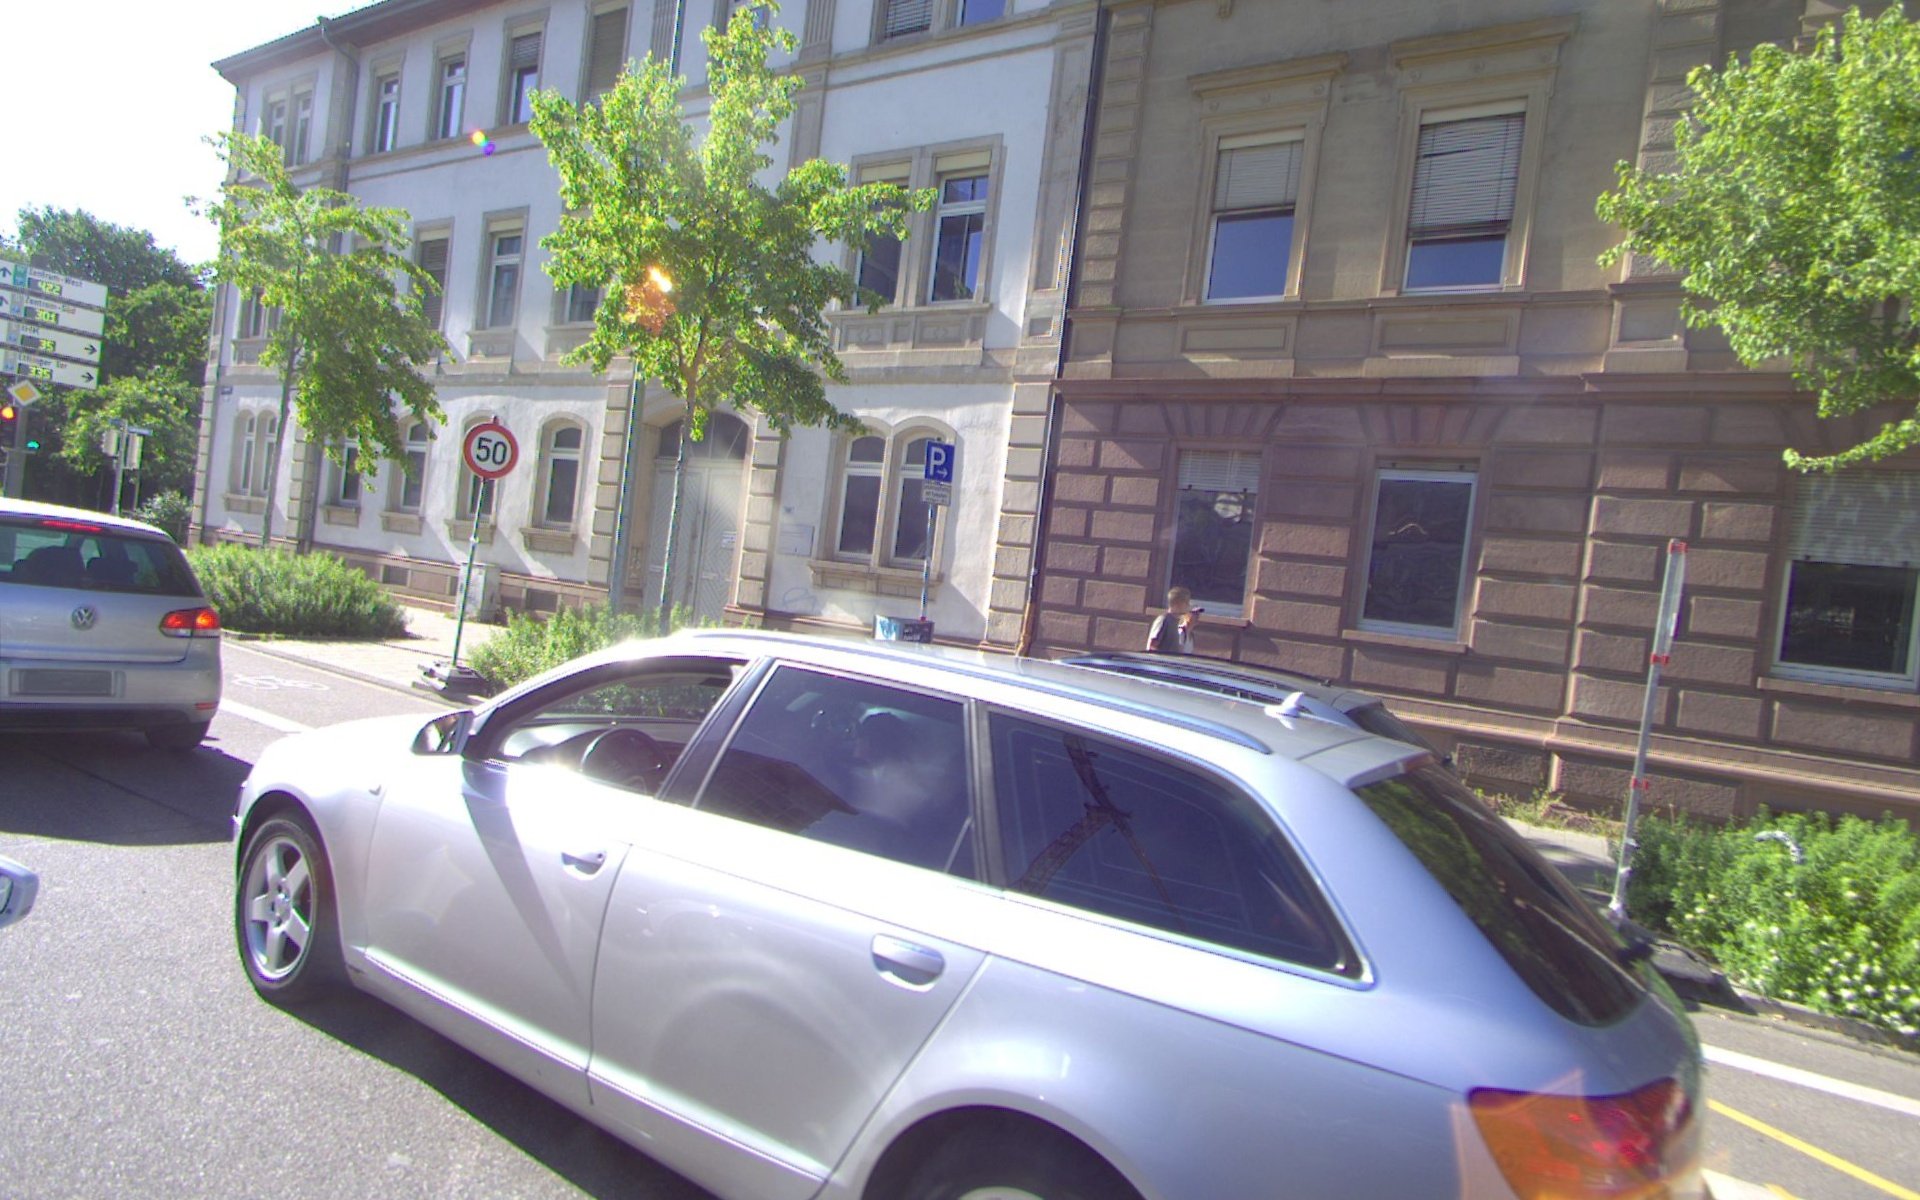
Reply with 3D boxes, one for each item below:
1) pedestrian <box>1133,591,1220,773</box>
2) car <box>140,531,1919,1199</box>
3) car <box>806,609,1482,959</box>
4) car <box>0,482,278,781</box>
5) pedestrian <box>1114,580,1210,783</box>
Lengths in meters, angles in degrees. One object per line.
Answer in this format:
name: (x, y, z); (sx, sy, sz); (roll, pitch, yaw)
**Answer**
pedestrian: (2.326, 0.855, 10.781); (0.577, 1.846, 0.563); (7, 4, 30)
car: (-0.509, 0.788, 3.195); (4.758, 1.444, 1.750); (7, -1, 32)
car: (1.215, 1.080, 7.582); (4.621, 1.495, 1.648); (7, 3, 31)
car: (-6.427, -0.003, 6.512); (3.938, 1.545, 1.753); (7, -1, 32)
pedestrian: (2.052, 0.804, 10.200); (0.577, 1.939, 0.658); (7, 4, 30)
